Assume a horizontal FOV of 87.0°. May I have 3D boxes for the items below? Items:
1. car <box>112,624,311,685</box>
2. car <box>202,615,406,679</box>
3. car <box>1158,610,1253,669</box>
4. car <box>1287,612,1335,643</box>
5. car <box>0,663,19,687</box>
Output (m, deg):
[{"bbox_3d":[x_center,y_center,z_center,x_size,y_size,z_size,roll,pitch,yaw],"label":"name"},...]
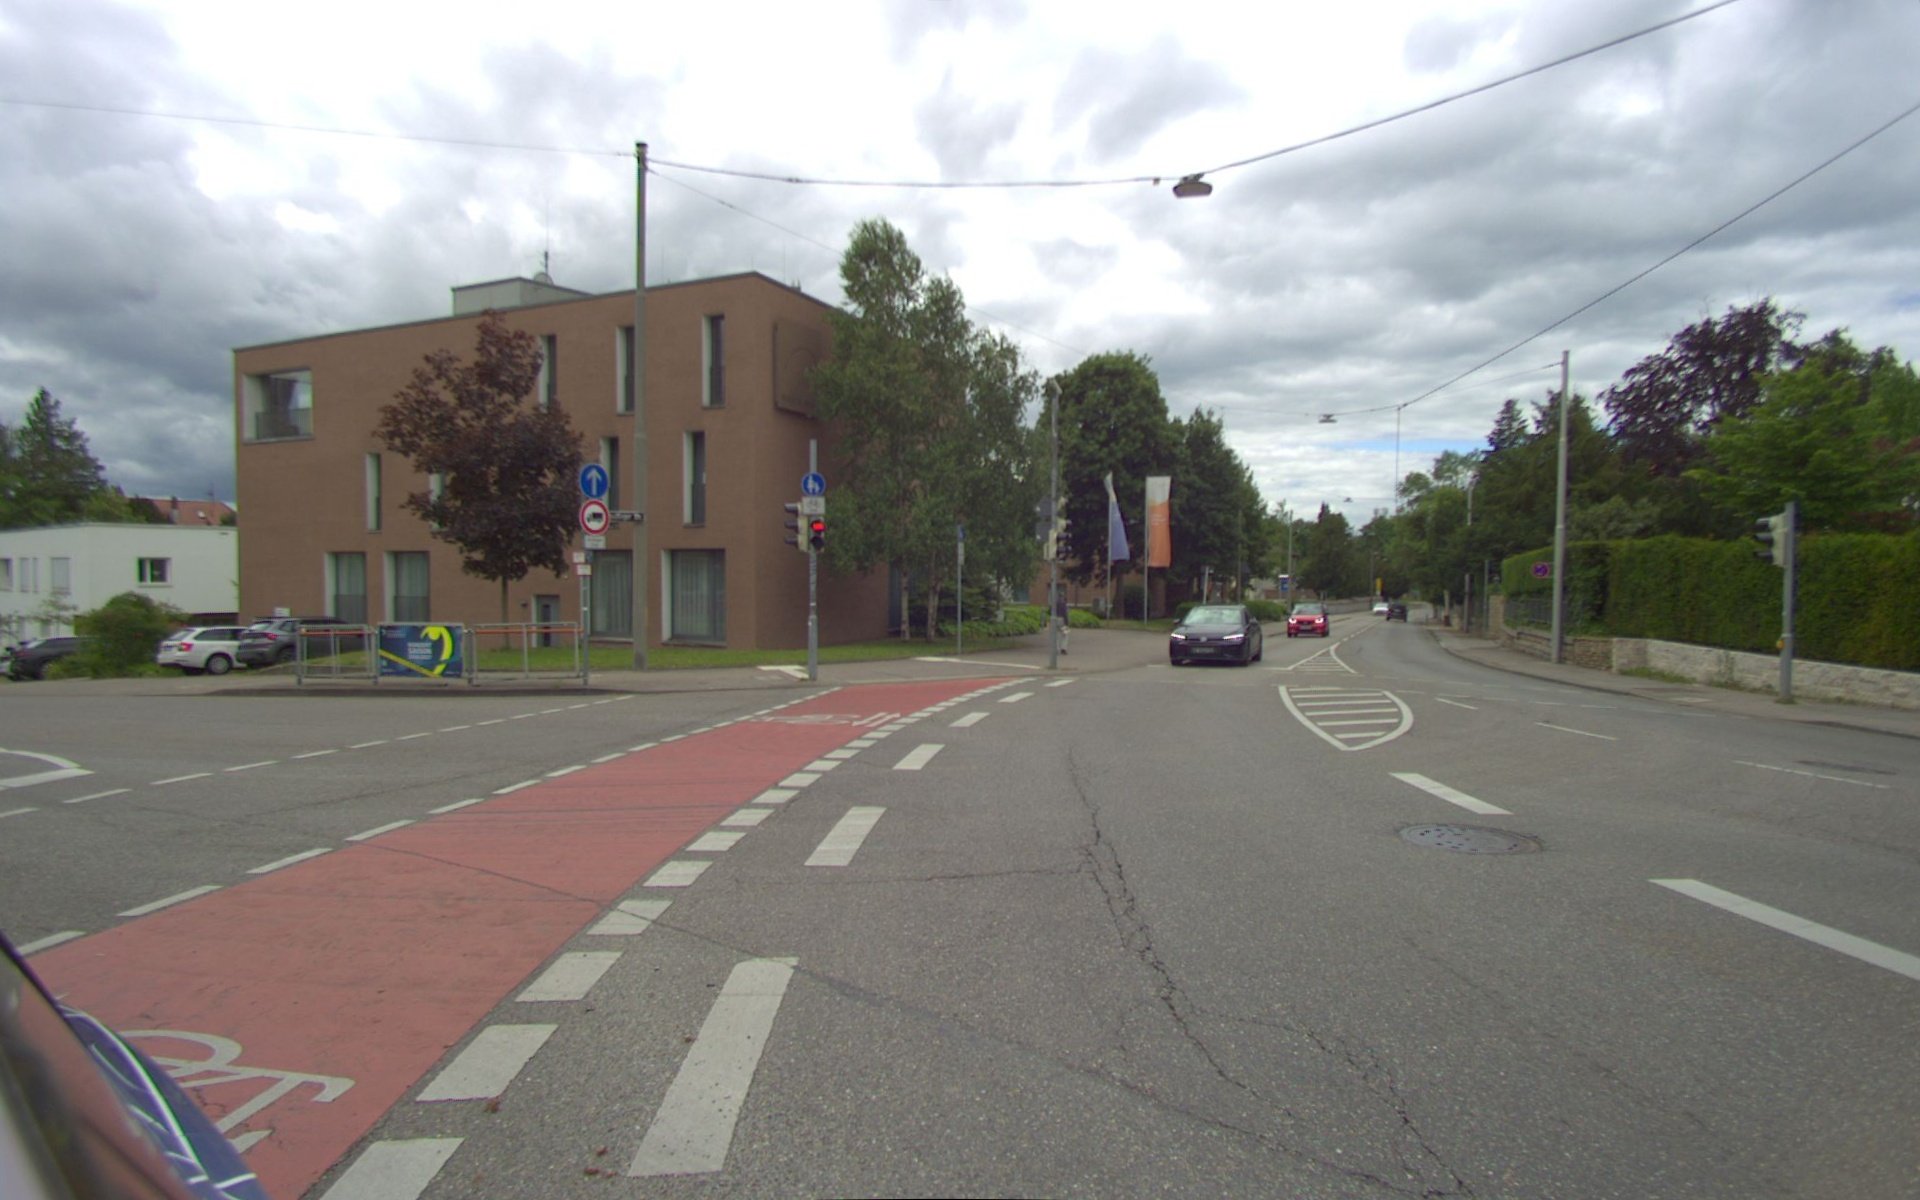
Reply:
[{"bbox_3d":[-22.267,1.570,30.287,1.994,1.570,4.388,-2,-1,32],"label":"car"},{"bbox_3d":[-18.341,1.273,28.492,1.994,1.570,4.388,-2,-1,32],"label":"car"},{"bbox_3d":[6.115,0.900,24.896,1.984,1.253,3.976,0,0,18],"label":"car"},{"bbox_3d":[16.183,1.236,46.560,1.986,1.209,3.972,0,1,21],"label":"car"},{"bbox_3d":[-65.883,5.101,67.345,1.994,1.570,4.388,-2,-1,32],"label":"car"}]
